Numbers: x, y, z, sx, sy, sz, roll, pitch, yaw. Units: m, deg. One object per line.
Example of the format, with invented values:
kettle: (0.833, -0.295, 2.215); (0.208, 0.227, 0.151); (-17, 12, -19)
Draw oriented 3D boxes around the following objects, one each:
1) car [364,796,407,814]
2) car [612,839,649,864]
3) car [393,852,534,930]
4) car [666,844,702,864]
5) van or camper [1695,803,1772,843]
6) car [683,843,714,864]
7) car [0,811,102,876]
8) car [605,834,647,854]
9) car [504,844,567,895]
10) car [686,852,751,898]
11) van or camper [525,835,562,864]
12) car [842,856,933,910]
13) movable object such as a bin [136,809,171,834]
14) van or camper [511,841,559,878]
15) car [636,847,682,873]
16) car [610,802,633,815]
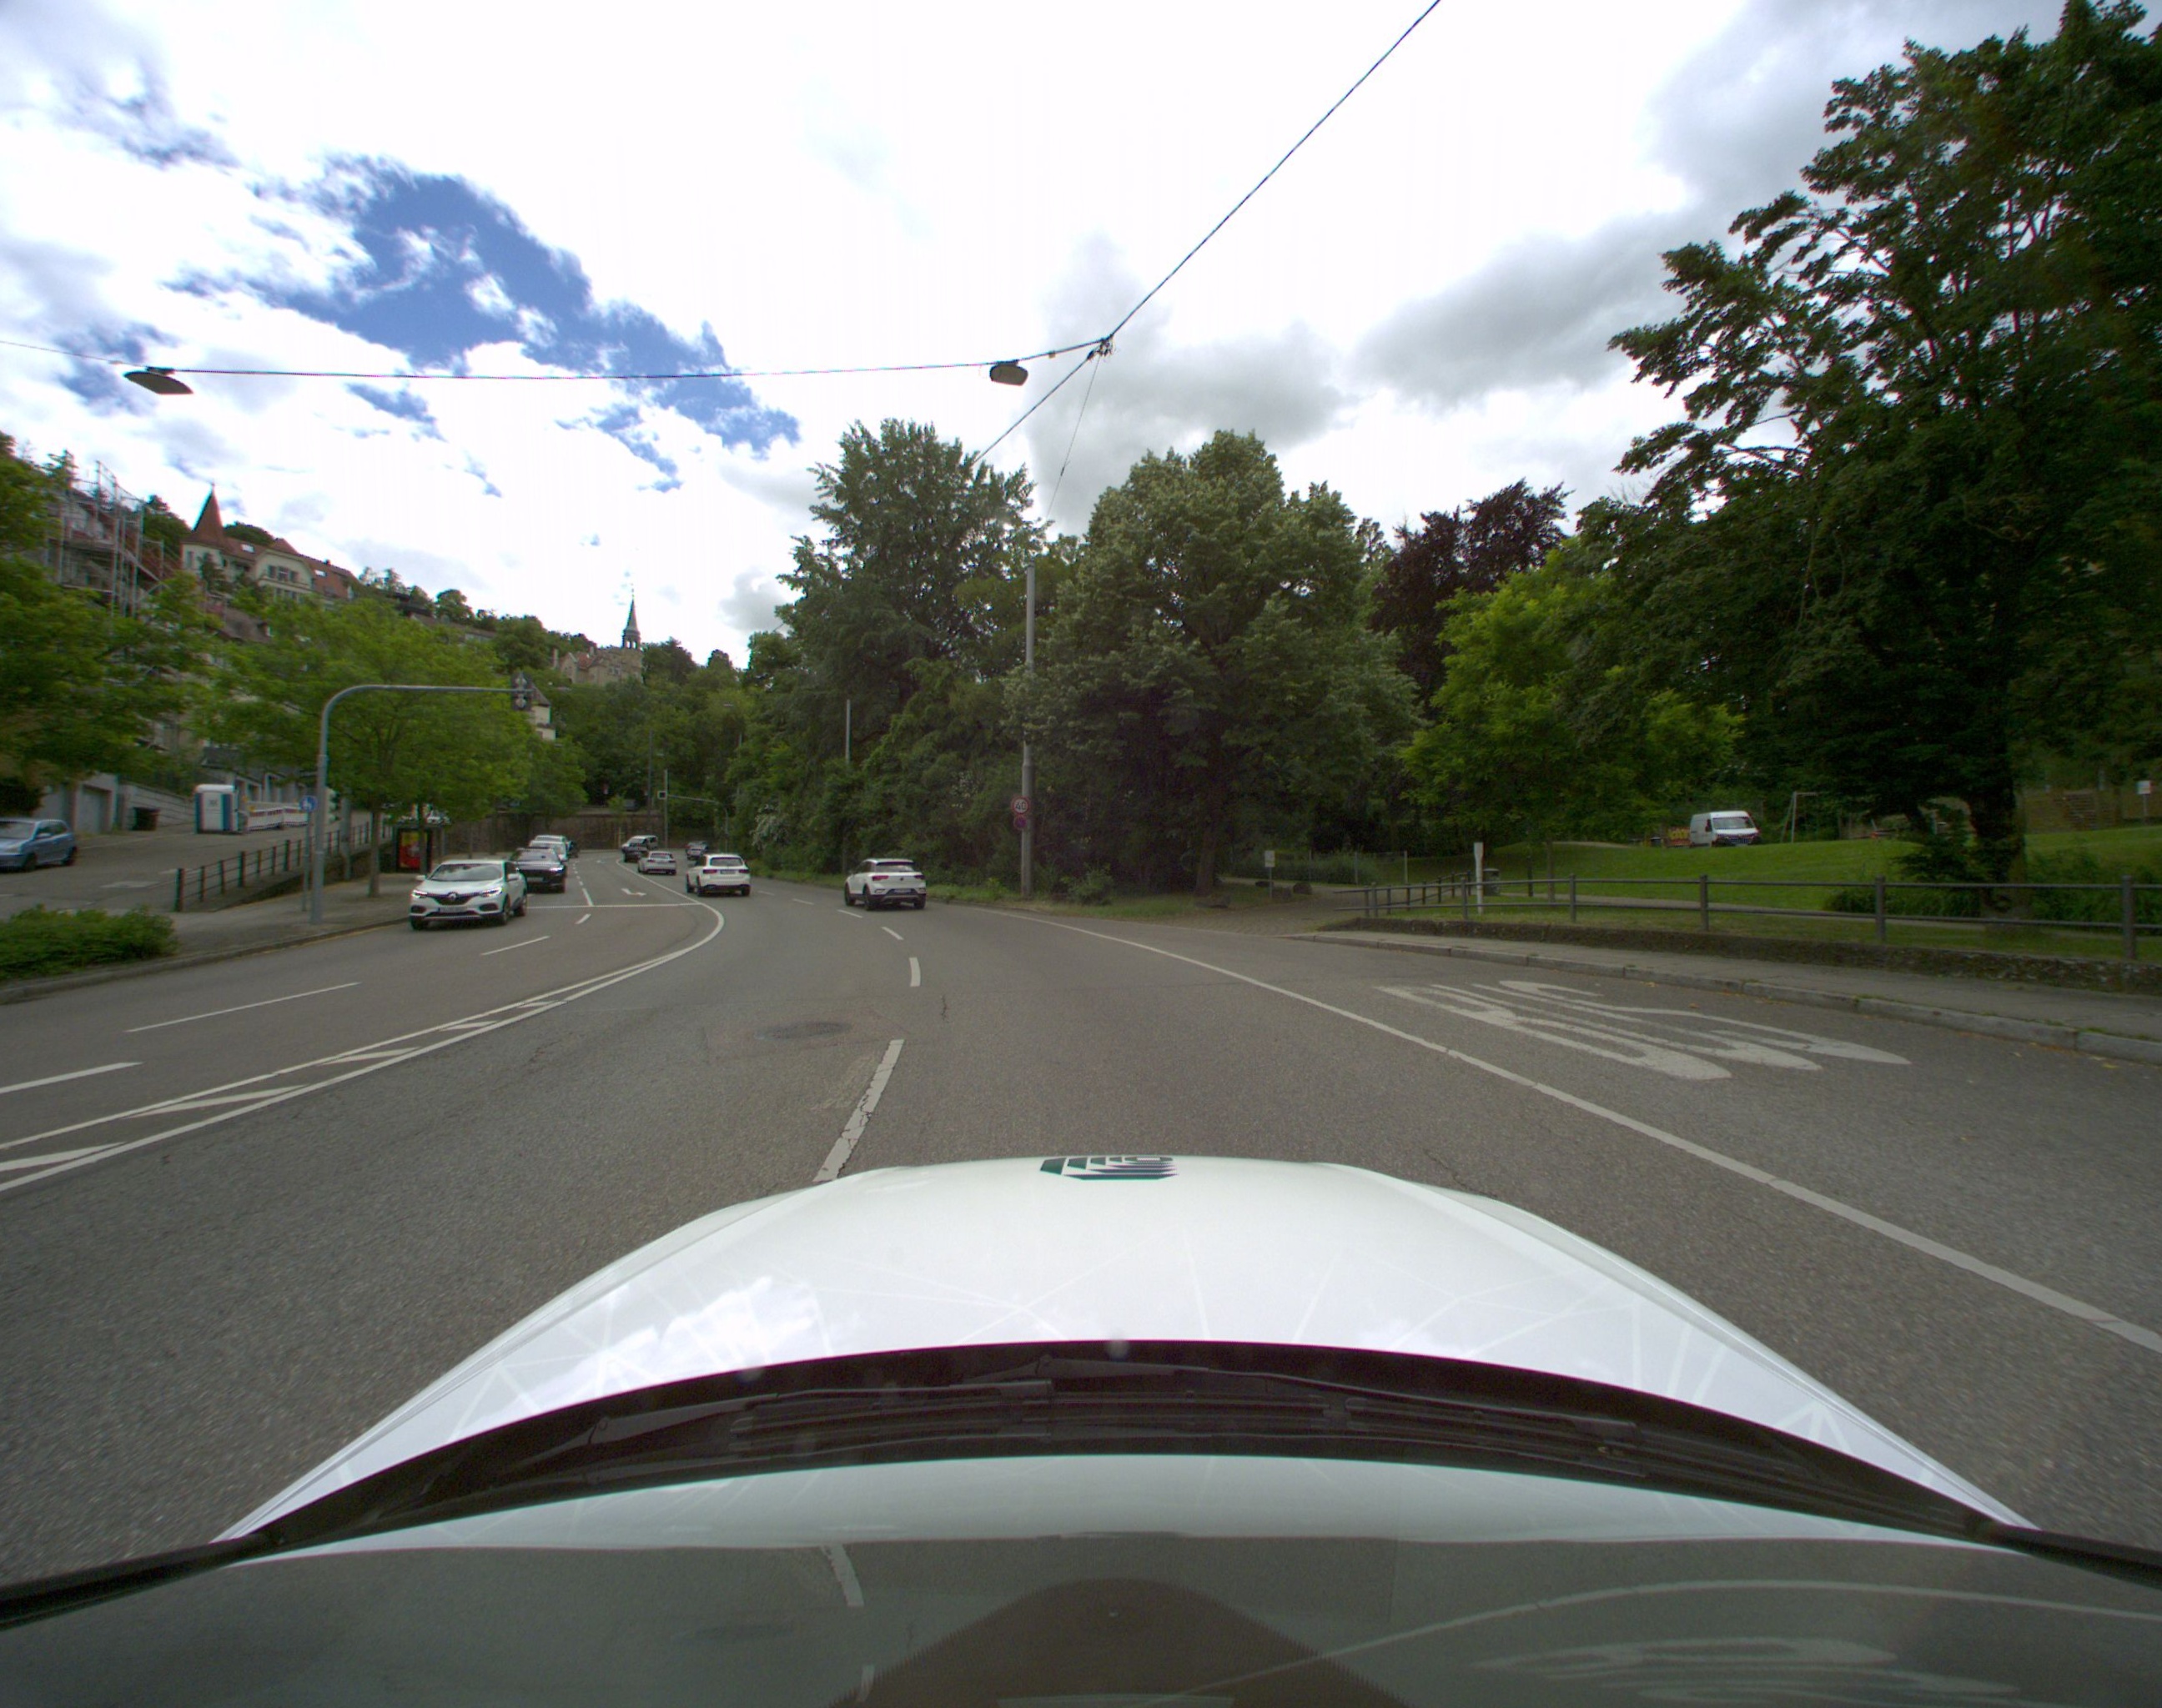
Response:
car: (-56.427, -3.979, 66.159); (1.557, 1.279, 3.573); (-1, 1, -22)
car: (-38.395, -0.240, 69.513); (2.198, 2.013, 3.971); (-2, 1, -22)
car: (-15.421, 0.823, 20.612); (1.905, 1.654, 4.340); (-2, 1, -25)
car: (-42.541, -0.031, 87.367); (1.989, 2.013, 3.995); (-2, 1, -3)
van or camper: (36.302, -1.725, 45.472); (2.282, 2.013, 5.475); (-1, 1, 27)
car: (-37.653, -0.081, 80.310); (1.997, 2.013, 3.980); (-2, 1, -14)
car: (-31.368, -0.359, 23.912); (2.005, 1.573, 3.965); (3, 3, -29)
car: (-46.957, -1.002, 84.183); (1.941, 1.799, 4.280); (3, -2, -3)
car: (-21.546, 0.556, 32.254); (1.909, 1.791, 4.710); (-2, 1, -33)
car: (-14.495, 0.776, 32.455); (1.889, 1.652, 4.299); (-1, 0, -30)
van or camper: (-39.402, -0.364, 59.807); (2.006, 2.013, 5.507); (1, 0, -31)
car: (-6.160, 0.840, 25.630); (1.876, 1.556, 3.858); (0, 0, -28)
movable object such as a bin: (-41.495, -1.458, 36.439); (0.812, 1.042, 0.829); (-7, 2, -38)
van or camper: (-29.357, 0.257, 43.808); (2.008, 1.895, 5.400); (1, 0, -34)
car: (-26.485, 0.349, 51.058); (2.262, 1.519, 4.265); (0, 1, -31)
car: (-57.352, -5.676, 101.675); (2.002, 1.485, 3.972); (1, 4, -23)
